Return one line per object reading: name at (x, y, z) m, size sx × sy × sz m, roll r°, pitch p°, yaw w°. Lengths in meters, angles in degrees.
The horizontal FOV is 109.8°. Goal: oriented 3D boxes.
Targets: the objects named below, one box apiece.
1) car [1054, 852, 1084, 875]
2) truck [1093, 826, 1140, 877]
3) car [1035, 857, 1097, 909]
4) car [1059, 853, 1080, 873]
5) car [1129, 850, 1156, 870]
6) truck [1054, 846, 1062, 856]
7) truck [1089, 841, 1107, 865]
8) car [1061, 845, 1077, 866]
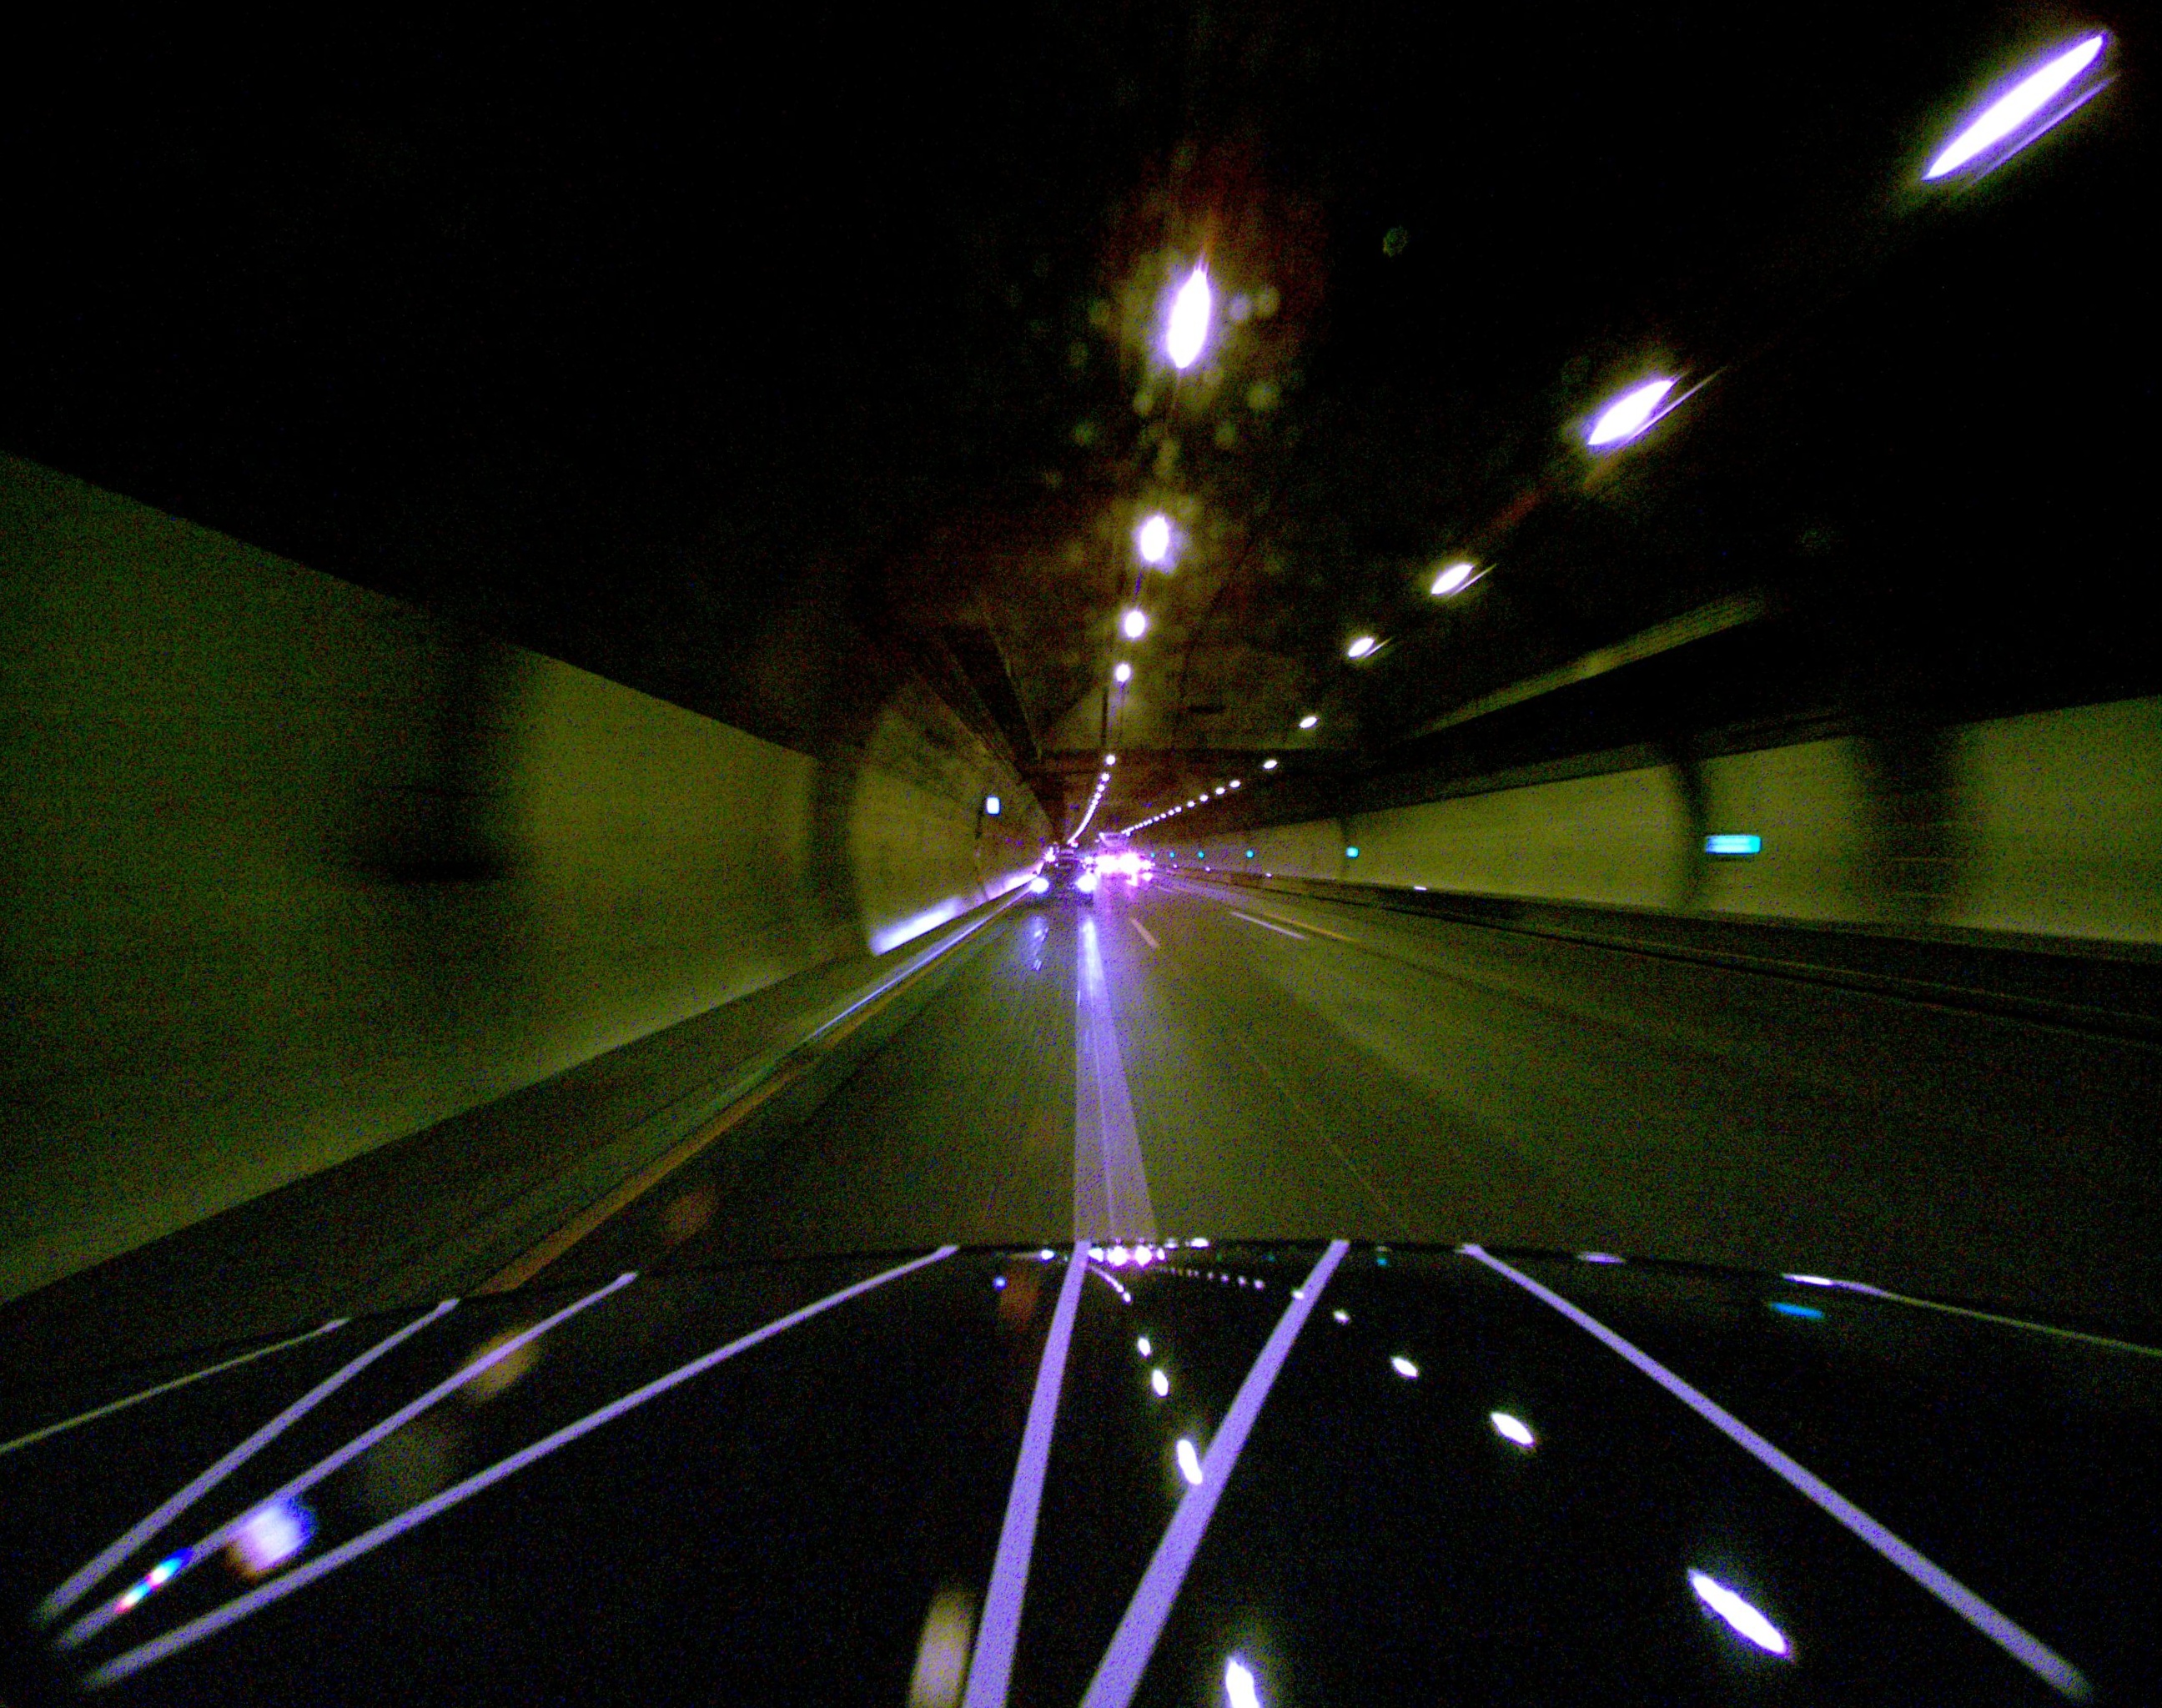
car at (-0.907, 0.673, 56.348) m, size 1.999 × 1.531 × 4.740 m, roll -3°, pitch 1°, yaw -3°
truck at (2.446, -0.190, 54.458) m, size 2.534 × 3.314 × 7.713 m, roll -3°, pitch 0°, yaw -3°
car at (-0.563, 0.880, 25.353) m, size 1.826 × 1.469 × 4.520 m, roll -3°, pitch 0°, yaw -3°
car at (-1.322, 0.952, 83.192) m, size 1.999 × 2.002 × 4.852 m, roll -3°, pitch 0°, yaw -4°
car at (5.307, 0.523, 66.157) m, size 1.998 × 1.531 × 4.850 m, roll -3°, pitch 1°, yaw 1°
truck at (-7.947, -0.996, 264.538) m, size 2.208 × 3.449 × 11.765 m, roll -2°, pitch 0°, yaw 1°
truck at (2.177, -0.164, 100.500) m, size 2.162 × 3.098 × 6.029 m, roll -3°, pitch 1°, yaw 0°
car at (-1.691, 0.155, 104.710) m, size 1.999 × 2.710 × 6.272 m, roll -3°, pitch 1°, yaw -3°
